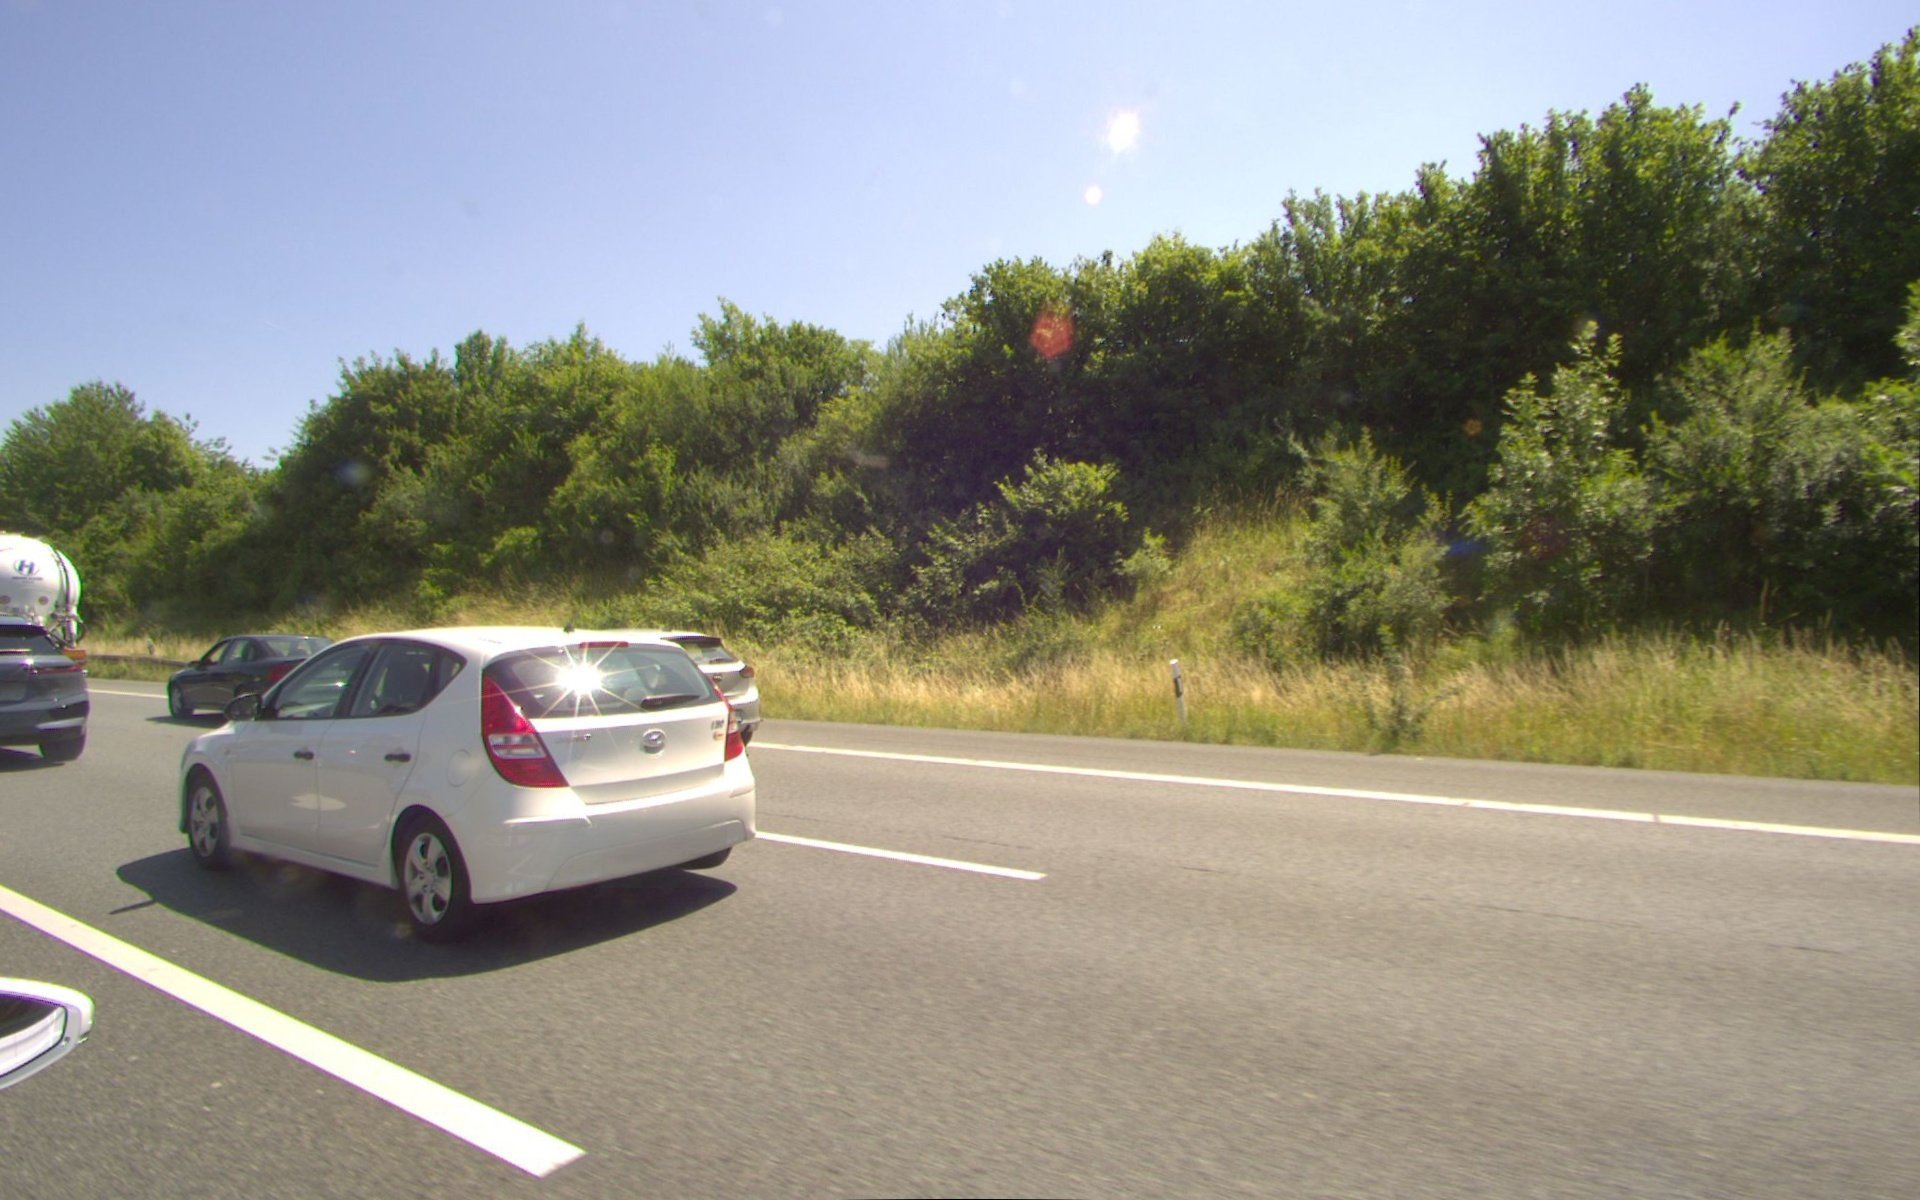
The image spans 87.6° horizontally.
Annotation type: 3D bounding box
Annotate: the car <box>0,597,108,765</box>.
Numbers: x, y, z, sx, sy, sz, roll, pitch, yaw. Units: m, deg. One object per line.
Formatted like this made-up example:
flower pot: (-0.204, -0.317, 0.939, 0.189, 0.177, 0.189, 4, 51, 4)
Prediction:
car: (-11.928, 0.903, 11.583, 4.562, 1.737, 1.995, -2, -1, 34)

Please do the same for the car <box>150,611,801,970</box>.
car: (-3.050, 0.865, 6.069, 3.945, 1.504, 1.813, -2, -1, 34)

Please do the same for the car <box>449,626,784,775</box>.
car: (-4.165, 1.062, 11.968, 3.971, 1.462, 1.727, 0, -1, 33)

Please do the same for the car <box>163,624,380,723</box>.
car: (-11.540, 1.172, 16.725, 3.934, 1.435, 1.637, -2, -1, 34)

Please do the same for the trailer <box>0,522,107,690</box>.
trailer: (-26.708, 0.223, 26.804, 11.323, 3.895, 2.755, -1, -1, 33)
